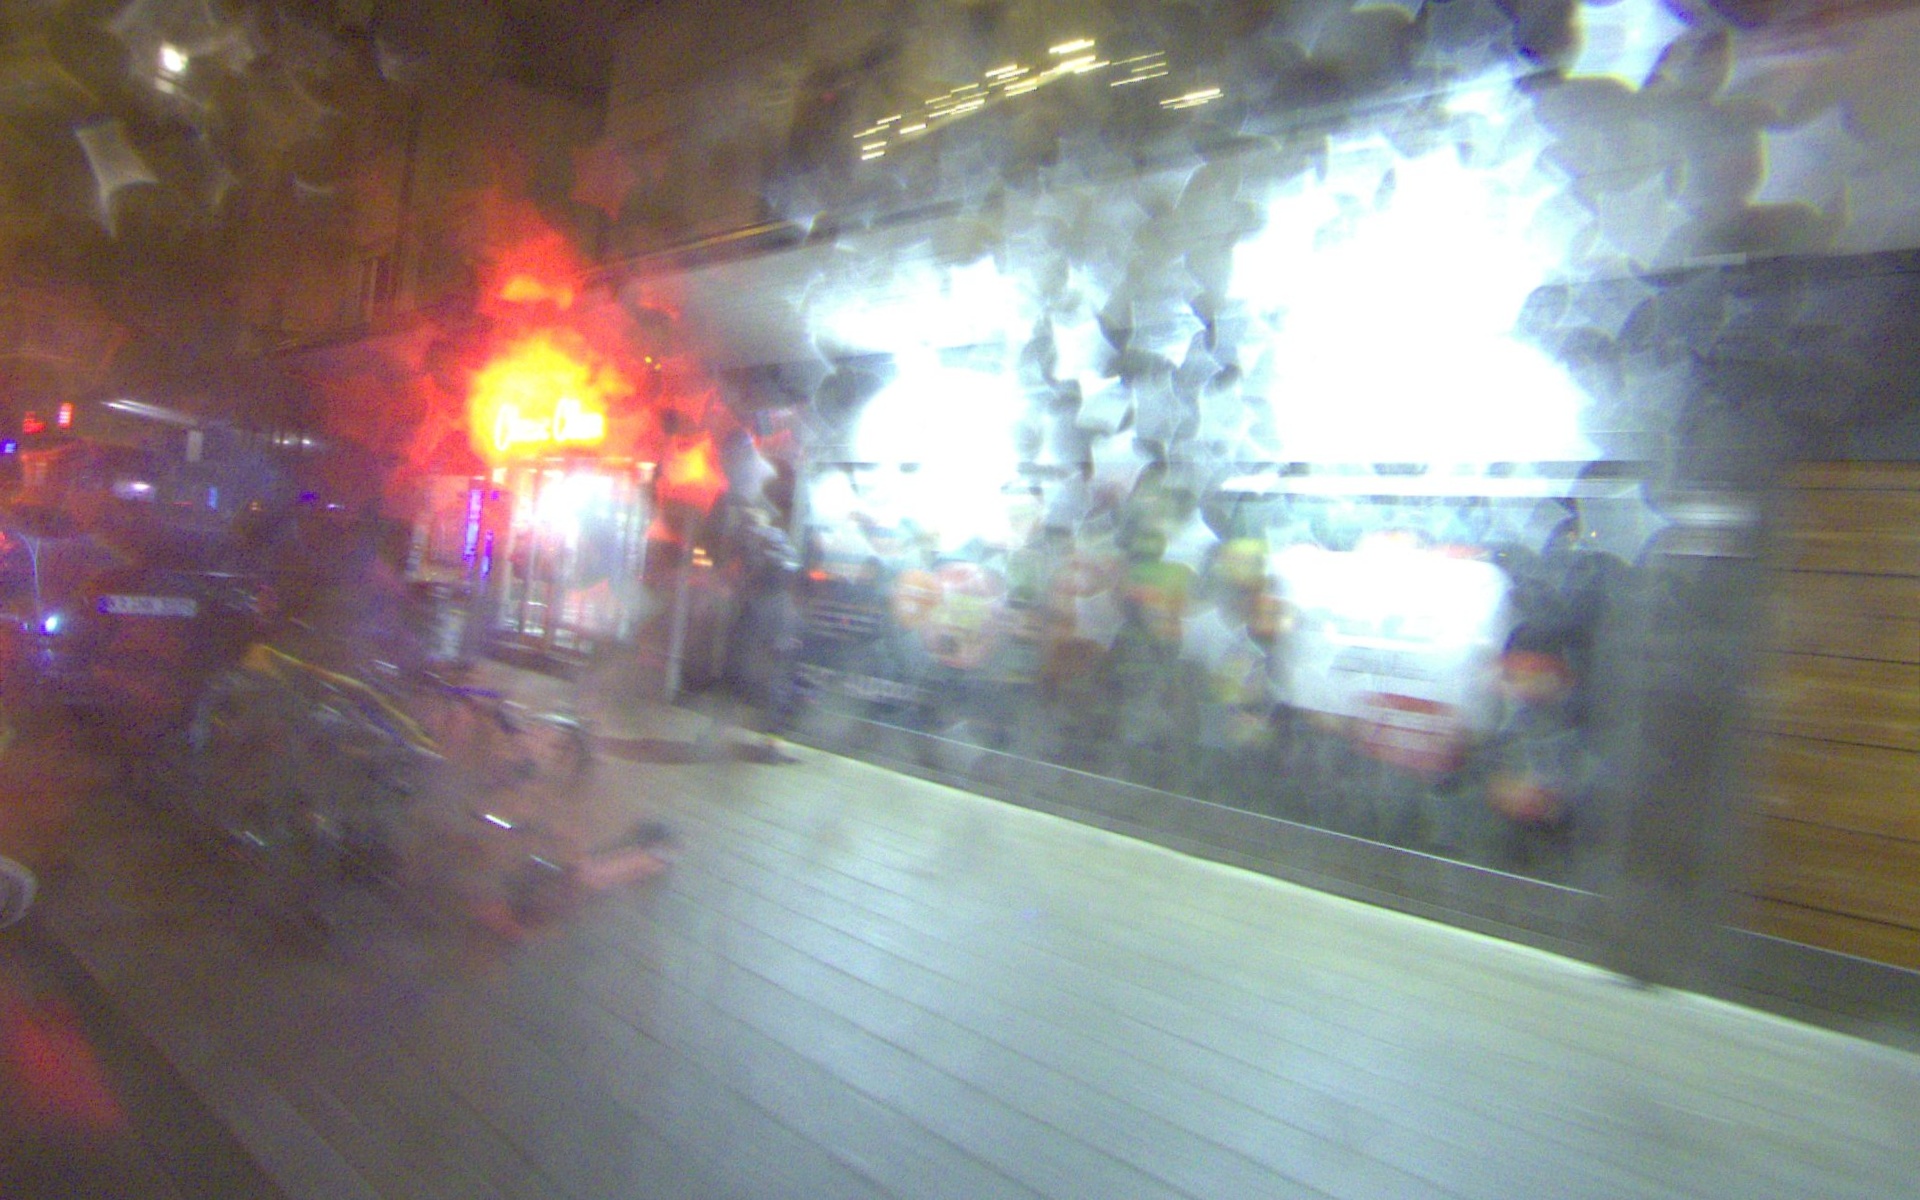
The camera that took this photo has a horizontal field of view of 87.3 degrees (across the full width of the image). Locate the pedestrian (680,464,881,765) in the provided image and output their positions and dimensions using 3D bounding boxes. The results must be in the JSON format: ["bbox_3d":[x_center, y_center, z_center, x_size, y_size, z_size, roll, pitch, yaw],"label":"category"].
[{"bbox_3d":[-1.449,0.106,8.152,0.956,2.237,1.052,7,2,40],"label":"pedestrian"}]

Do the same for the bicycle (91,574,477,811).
[{"bbox_3d":[-3.772,0.473,5.758,0.429,1.140,1.758,8,4,38],"label":"bicycle"}]

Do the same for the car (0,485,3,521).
[{"bbox_3d":[-35.722,-3.229,34.256,1.964,2.038,3.997,5,-1,24],"label":"car"}]

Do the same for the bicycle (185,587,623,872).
[{"bbox_3d":[-2.620,0.597,4.957,0.429,1.139,1.781,8,1,38],"label":"bicycle"}]

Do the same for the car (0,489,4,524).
[{"bbox_3d":[-15.288,-0.948,14.390,3.932,1.627,1.752,6,-2,39],"label":"car"}]

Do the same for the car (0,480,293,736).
[{"bbox_3d":[-7.144,-0.033,8.060,4.094,1.584,1.752,6,-2,39],"label":"car"}]

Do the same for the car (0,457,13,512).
[{"bbox_3d":[-38.462,-4.666,37.736,1.972,2.039,3.982,8,0,41],"label":"car"}]

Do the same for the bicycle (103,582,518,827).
[{"bbox_3d":[-3.394,0.546,5.431,0.429,1.092,1.761,8,1,38],"label":"bicycle"}]

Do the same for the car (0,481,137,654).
[{"bbox_3d":[-10.575,-0.486,10.807,4.334,1.556,1.752,6,-2,39],"label":"car"}]
